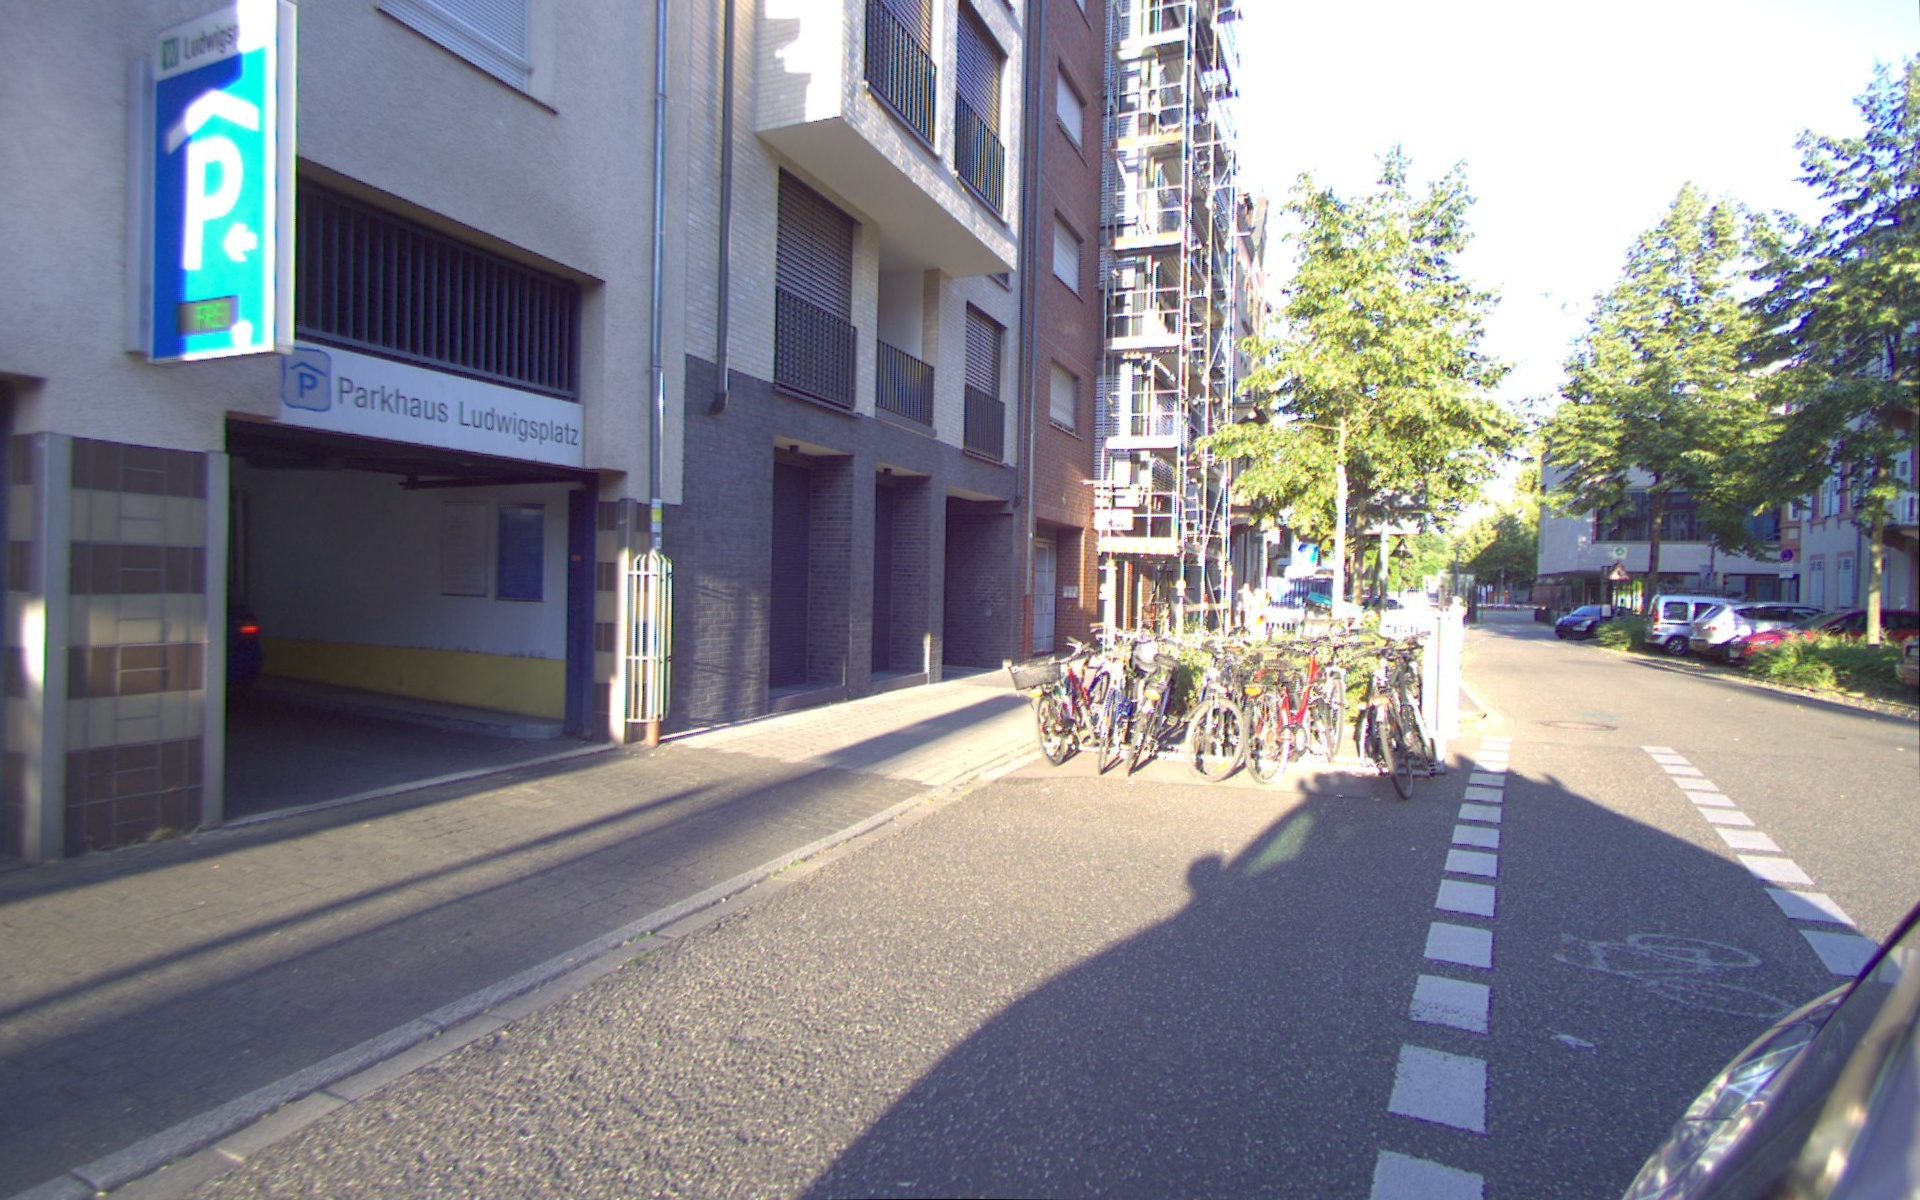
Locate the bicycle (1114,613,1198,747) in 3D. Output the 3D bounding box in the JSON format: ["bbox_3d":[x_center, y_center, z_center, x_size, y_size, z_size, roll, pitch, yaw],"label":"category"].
[{"bbox_3d":[1.949,0.735,9.936,0.463,1.158,1.540,2,1,23],"label":"bicycle"}]

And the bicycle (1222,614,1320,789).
[{"bbox_3d":[2.429,0.716,7.812,0.414,1.171,1.537,2,1,28],"label":"bicycle"}]

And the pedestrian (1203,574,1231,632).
[{"bbox_3d":[8.201,0.100,32.236,0.735,1.806,0.651,1,0,24],"label":"pedestrian"}]

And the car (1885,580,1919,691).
[{"bbox_3d":[16.412,0.649,14.853,3.654,1.690,1.845,4,2,22],"label":"car"}]

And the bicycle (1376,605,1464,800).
[{"bbox_3d":[3.346,0.675,7.416,0.493,1.236,1.540,2,1,23],"label":"bicycle"}]

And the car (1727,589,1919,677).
[{"bbox_3d":[19.553,0.696,22.387,3.654,1.690,1.845,4,2,22],"label":"car"}]

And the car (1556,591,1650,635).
[{"bbox_3d":[26.278,0.540,41.317,3.625,1.587,1.860,2,2,-34],"label":"car"}]

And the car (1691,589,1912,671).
[{"bbox_3d":[20.420,0.679,24.774,3.654,1.690,1.845,4,2,22],"label":"car"}]

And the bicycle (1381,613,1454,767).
[{"bbox_3d":[4.025,0.732,8.953,0.503,1.193,1.540,2,1,23],"label":"bicycle"}]

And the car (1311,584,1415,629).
[{"bbox_3d":[17.174,0.253,43.150,3.960,1.705,1.874,2,1,26],"label":"car"}]

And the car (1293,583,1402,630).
[{"bbox_3d":[15.668,0.234,40.916,3.960,1.705,1.874,2,1,26],"label":"car"}]

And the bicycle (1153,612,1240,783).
[{"bbox_3d":[1.892,0.700,7.983,0.378,1.174,1.540,2,1,23],"label":"bicycle"}]

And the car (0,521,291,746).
[{"bbox_3d":[-8.115,0.130,8.884,4.070,1.582,1.682,4,2,21],"label":"car"}]

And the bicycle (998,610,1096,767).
[{"bbox_3d":[0.772,0.700,8.659,0.384,1.198,1.394,2,1,23],"label":"bicycle"}]

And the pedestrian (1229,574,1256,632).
[{"bbox_3d":[8.969,0.085,32.165,0.735,1.806,0.652,1,0,22],"label":"pedestrian"}]

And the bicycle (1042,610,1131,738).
[{"bbox_3d":[1.295,0.695,10.174,0.453,1.146,1.540,2,1,23],"label":"bicycle"}]

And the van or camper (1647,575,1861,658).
[{"bbox_3d":[22.766,0.422,29.261,4.403,2.030,1.845,4,1,22],"label":"van or camper"}]

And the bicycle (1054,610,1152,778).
[{"bbox_3d":[1.205,0.707,8.306,0.383,1.204,1.540,2,1,23],"label":"bicycle"}]

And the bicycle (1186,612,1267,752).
[{"bbox_3d":[2.538,0.718,9.548,0.483,1.164,1.540,2,1,23],"label":"bicycle"}]

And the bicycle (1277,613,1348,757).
[{"bbox_3d":[3.285,0.729,9.361,0.483,1.178,1.540,2,1,23],"label":"bicycle"}]
